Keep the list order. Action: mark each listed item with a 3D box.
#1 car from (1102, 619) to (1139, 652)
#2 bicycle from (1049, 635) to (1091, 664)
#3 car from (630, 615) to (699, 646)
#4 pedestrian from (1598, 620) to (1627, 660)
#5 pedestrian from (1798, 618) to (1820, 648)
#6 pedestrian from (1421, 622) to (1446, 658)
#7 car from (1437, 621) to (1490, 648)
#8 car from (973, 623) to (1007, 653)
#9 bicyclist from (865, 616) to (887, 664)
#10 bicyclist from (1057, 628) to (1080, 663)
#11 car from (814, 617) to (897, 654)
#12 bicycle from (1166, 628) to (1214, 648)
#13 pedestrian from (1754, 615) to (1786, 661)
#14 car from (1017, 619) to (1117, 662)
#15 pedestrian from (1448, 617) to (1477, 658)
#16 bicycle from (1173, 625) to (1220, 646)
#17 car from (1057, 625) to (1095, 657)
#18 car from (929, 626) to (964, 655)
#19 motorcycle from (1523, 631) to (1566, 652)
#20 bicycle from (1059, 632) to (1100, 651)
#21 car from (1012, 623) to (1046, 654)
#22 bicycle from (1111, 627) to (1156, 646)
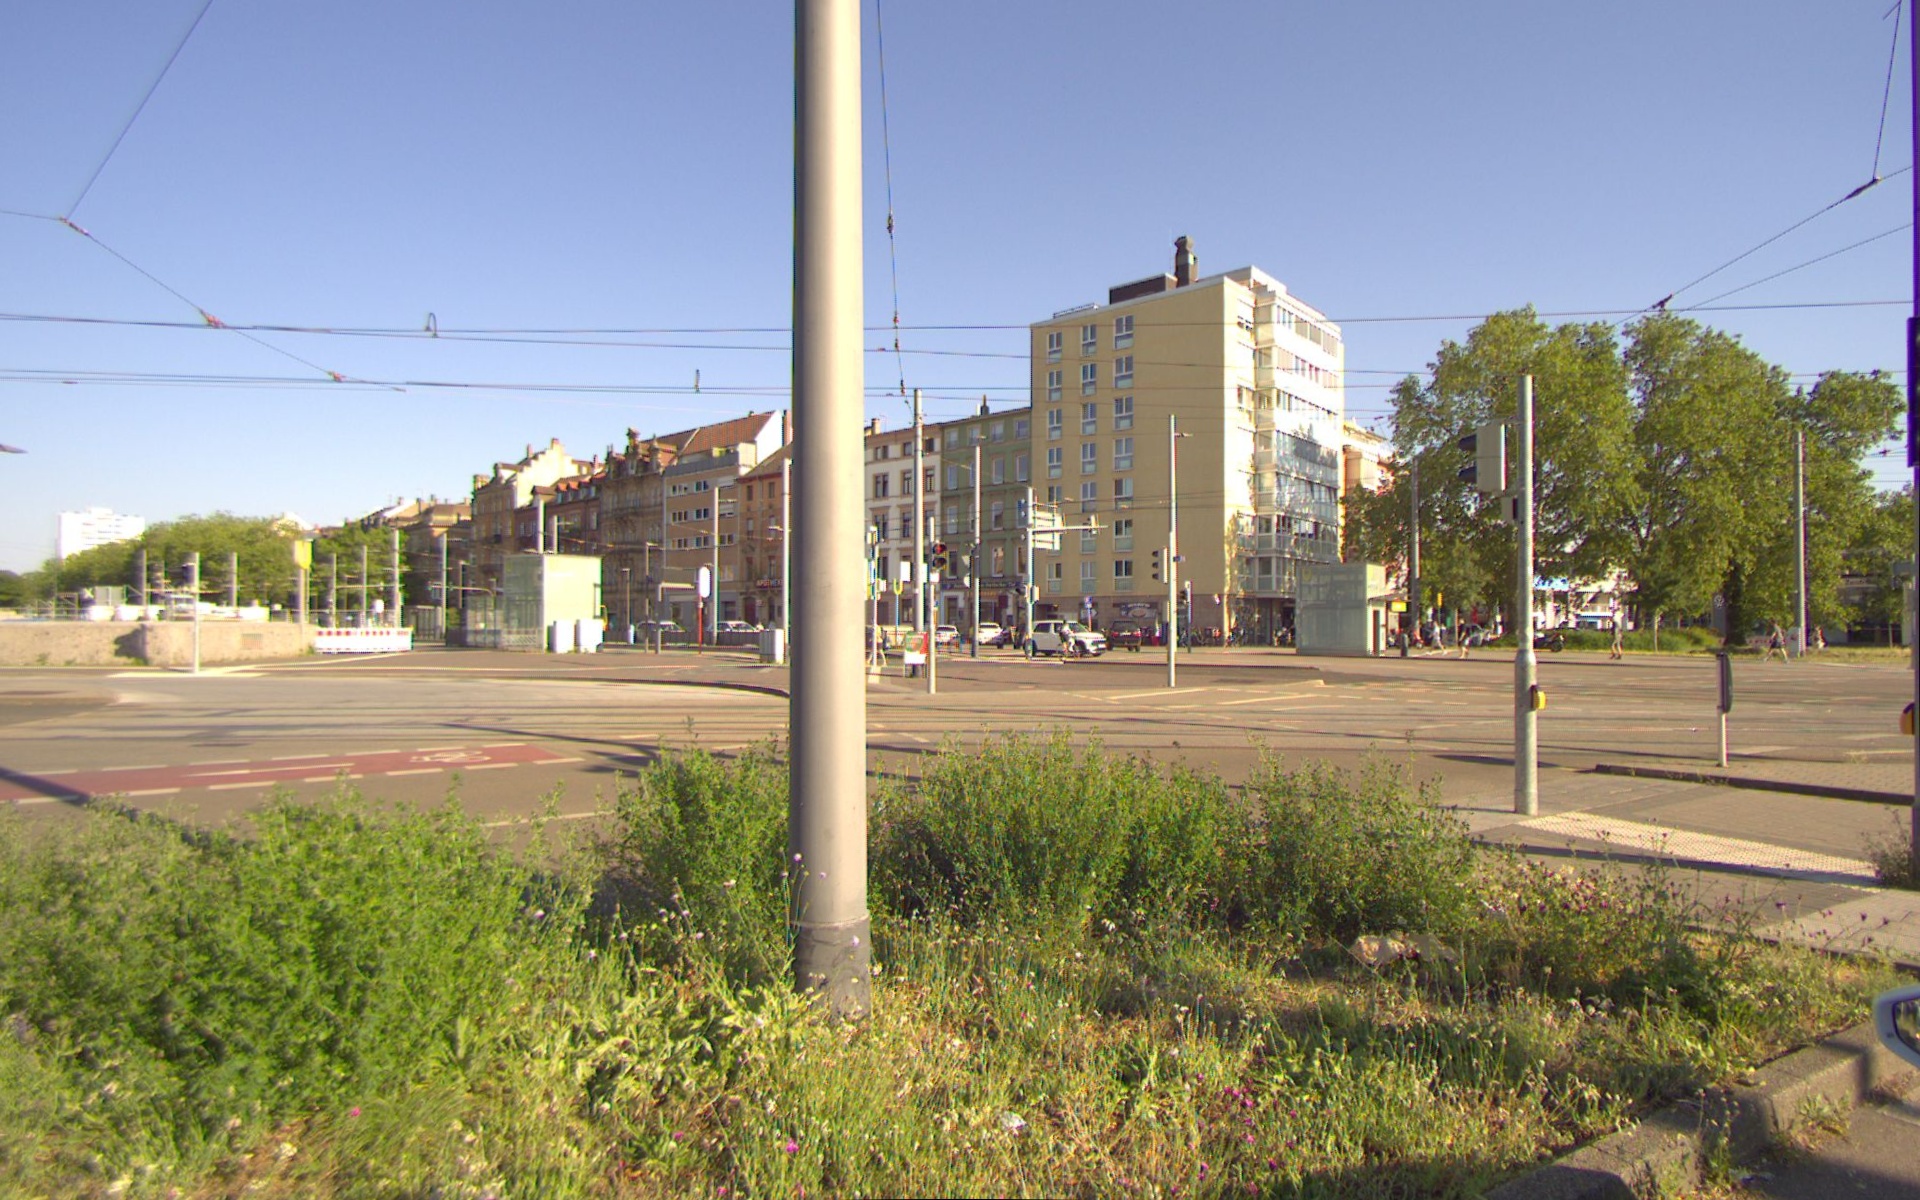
[{"bbox_3d":[9.155,1.979,57.501,1.684,1.728,4.001,2,0,4],"label":"car"},{"bbox_3d":[4.445,1.985,40.601,0.617,1.104,1.914,2,0,44],"label":"bicycle"},{"bbox_3d":[-19.254,1.958,65.352,4.837,1.849,1.990,2,0,41],"label":"car"},{"bbox_3d":[29.191,1.788,44.944,0.747,1.728,0.793,2,0,-22],"label":"pedestrian"},{"bbox_3d":[49.785,1.930,58.914,0.491,1.716,0.852,2,0,-32],"label":"pedestrian"},{"bbox_3d":[23.240,1.975,49.271,0.747,1.728,0.793,2,0,-22],"label":"pedestrian"},{"bbox_3d":[32.019,2.204,63.813,3.973,1.588,1.753,2,0,-44],"label":"car"},{"bbox_3d":[1.922,2.390,63.868,1.960,1.728,4.001,2,0,4],"label":"car"},{"bbox_3d":[-3.076,1.459,37.030,0.653,1.706,0.980,2,0,2],"label":"bicyclist"},{"bbox_3d":[4.391,1.840,40.543,0.617,1.368,0.658,2,0,44],"label":"bicyclist"},{"bbox_3d":[-5.545,1.840,52.938,4.656,1.684,1.775,1,0,45],"label":"car"},{"bbox_3d":[14.456,2.386,63.214,3.003,1.167,0.637,1,0,44],"label":"bicycle"},{"bbox_3d":[34.831,1.631,43.206,0.747,1.911,0.793,2,0,-22],"label":"pedestrian"},{"bbox_3d":[4.648,1.744,43.877,3.934,1.684,1.781,2,0,35],"label":"car"},{"bbox_3d":[21.816,1.636,43.631,0.747,1.728,0.793,2,0,-22],"label":"pedestrian"},{"bbox_3d":[14.973,2.230,63.652,3.003,1.167,0.637,1,0,44],"label":"bicycle"},{"bbox_3d":[6.830,2.382,59.344,1.960,1.728,4.001,2,0,4],"label":"car"},{"bbox_3d":[-0.839,2.645,66.379,1.960,1.728,4.001,2,0,4],"label":"car"},{"bbox_3d":[29.154,2.058,50.113,1.753,0.926,0.676,2,0,41],"label":"motorcycle"},{"bbox_3d":[8.179,2.811,68.993,3.003,1.167,0.637,1,0,44],"label":"bicycle"},{"bbox_3d":[4.185,2.313,61.461,1.960,1.728,4.001,2,0,4],"label":"car"},{"bbox_3d":[11.414,2.397,66.156,3.003,1.167,0.637,1,0,44],"label":"bicycle"}]
